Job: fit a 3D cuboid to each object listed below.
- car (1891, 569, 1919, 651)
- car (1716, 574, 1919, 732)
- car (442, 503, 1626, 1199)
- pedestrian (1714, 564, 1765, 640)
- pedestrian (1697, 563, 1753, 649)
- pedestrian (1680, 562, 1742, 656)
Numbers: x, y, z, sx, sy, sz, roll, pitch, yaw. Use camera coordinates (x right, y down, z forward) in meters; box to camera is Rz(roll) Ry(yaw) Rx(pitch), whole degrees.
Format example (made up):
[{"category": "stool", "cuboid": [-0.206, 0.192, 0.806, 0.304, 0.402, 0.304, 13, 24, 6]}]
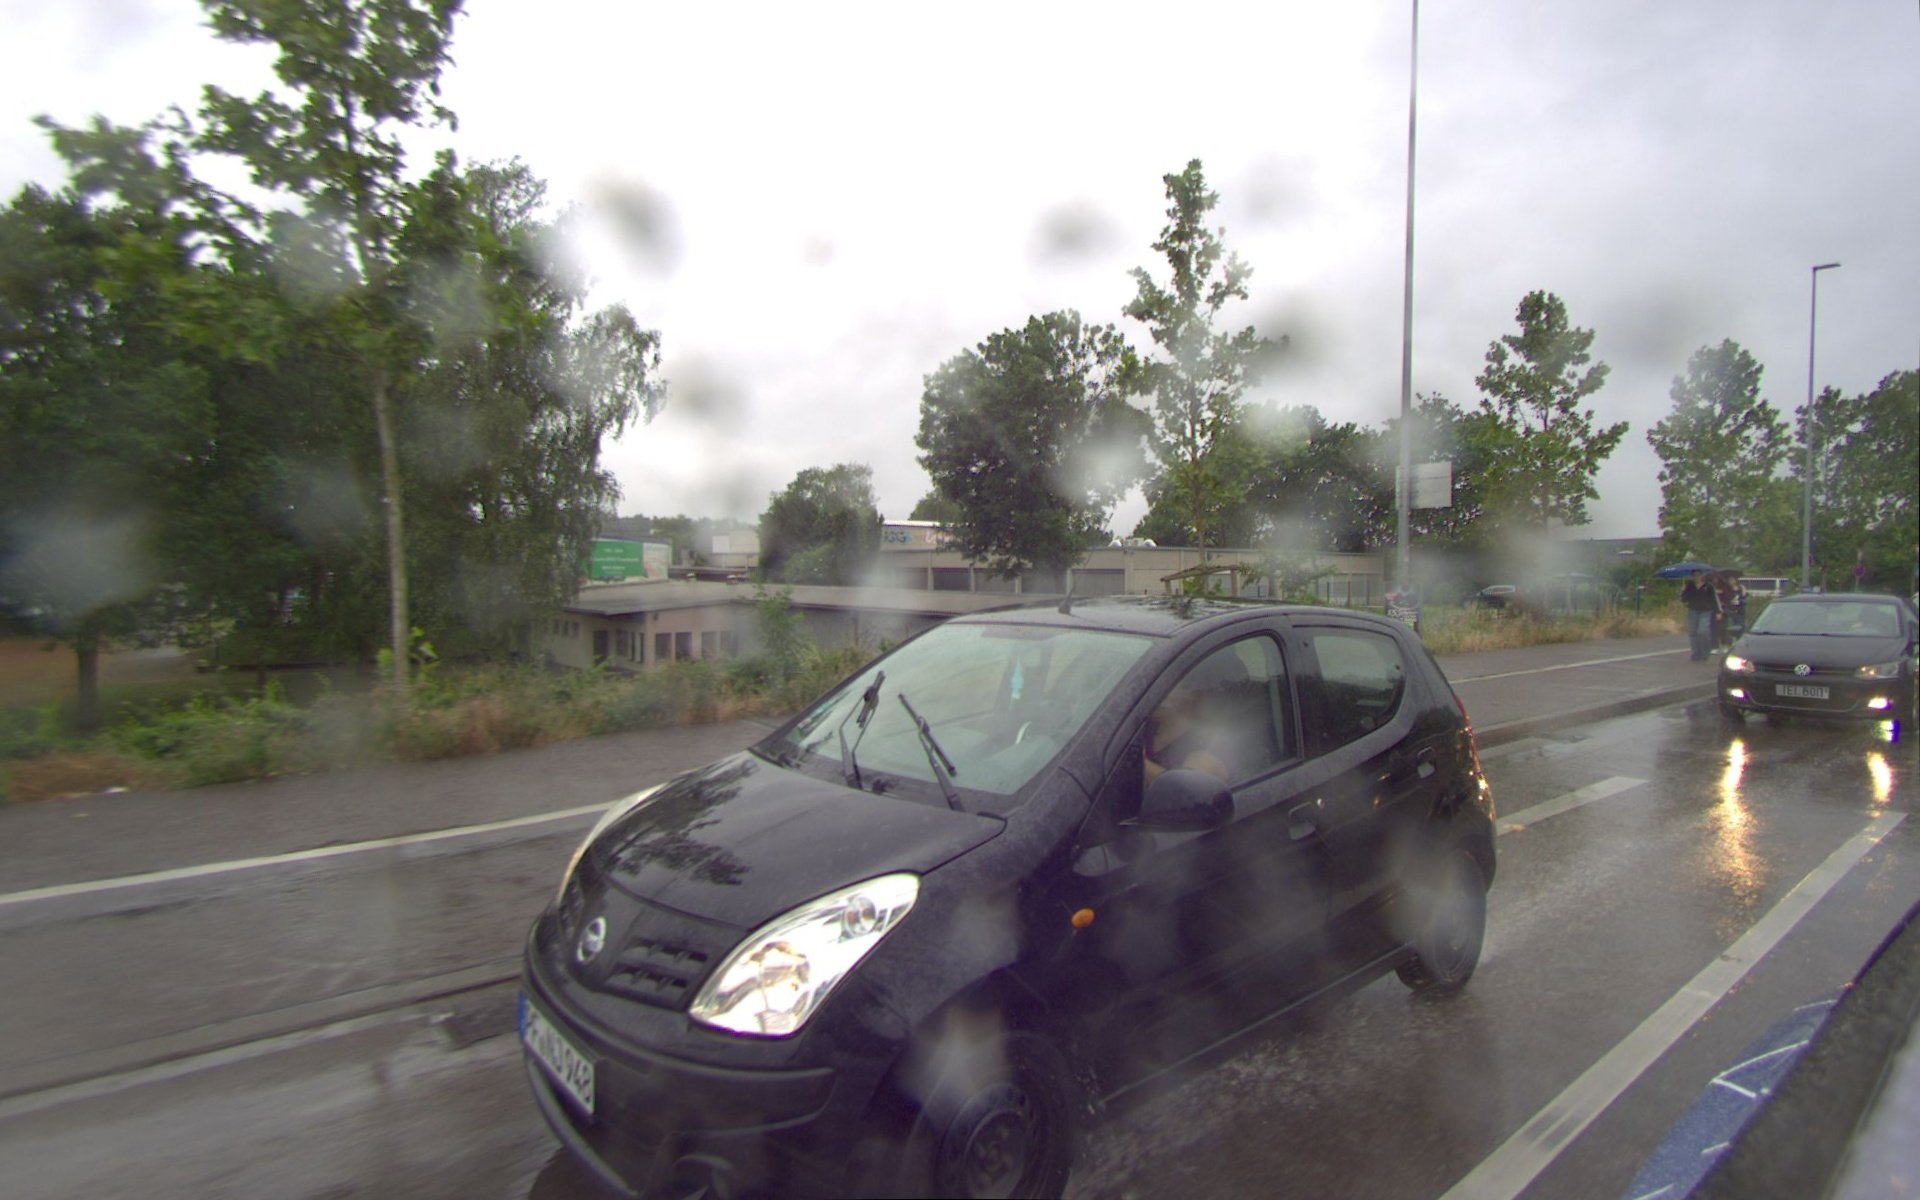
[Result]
[{"category": "car", "cuboid": [19.942, 0.204, 20.066, 3.971, 1.544, 1.714, 1, -1, -40]}, {"category": "car", "cuboid": [10.172, 0.523, 11.487, 3.971, 1.503, 1.714, 1, -1, -40]}, {"category": "car", "cuboid": [0.606, 0.610, 3.533, 4.018, 1.480, 1.775, 1, -1, -39]}, {"category": "pedestrian", "cuboid": [17.206, 0.034, 22.342, 0.639, 1.631, 0.734, -1, 2, -40]}, {"category": "pedestrian", "cuboid": [14.867, 0.098, 19.672, 0.566, 1.631, 0.734, -1, 2, -40]}, {"category": "pedestrian", "cuboid": [13.470, 0.137, 18.165, 0.607, 1.631, 0.734, -1, 2, -40]}]
